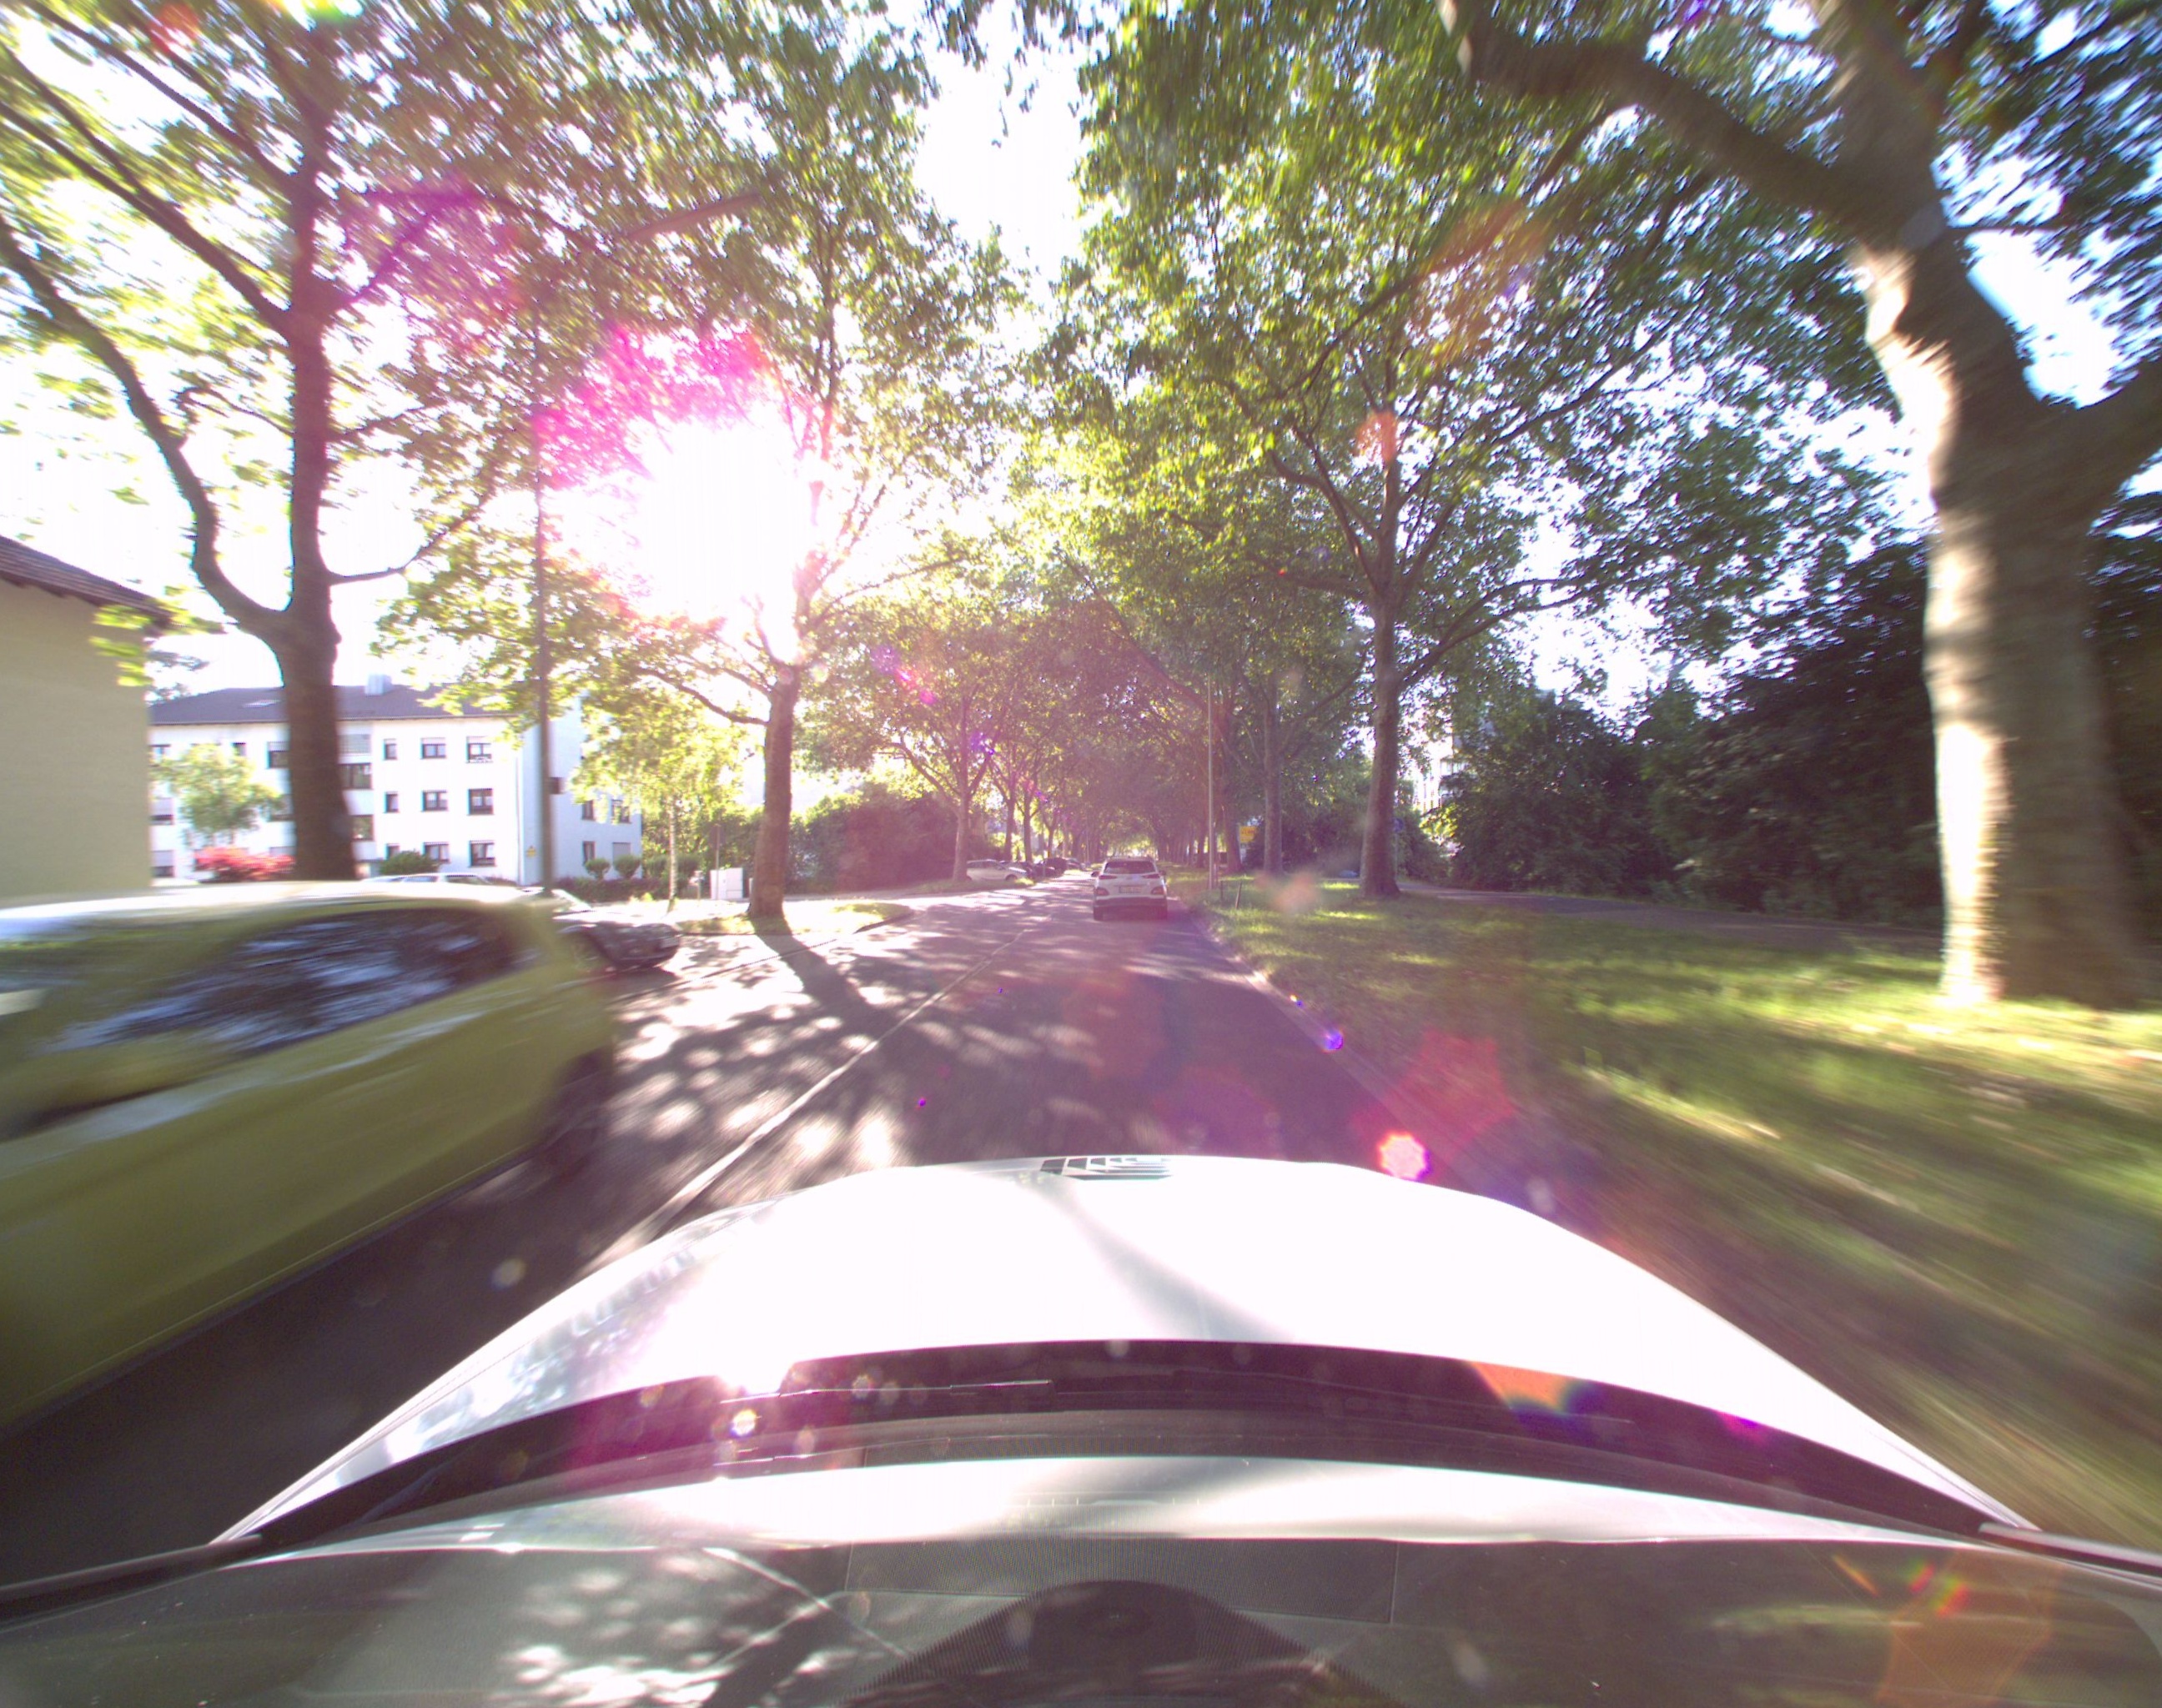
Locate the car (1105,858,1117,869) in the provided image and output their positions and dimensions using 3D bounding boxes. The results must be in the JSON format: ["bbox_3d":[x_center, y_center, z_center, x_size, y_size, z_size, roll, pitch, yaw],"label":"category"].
[{"bbox_3d":[3.935,1.220,105.779,1.529,1.459,3.186,-1,0,2],"label":"car"}]

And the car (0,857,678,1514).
[{"bbox_3d":[-3.368,0.787,2.922,1.777,1.512,3.841,0,0,3],"label":"car"}]

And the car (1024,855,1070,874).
[{"bbox_3d":[-3.228,1.014,77.800,4.225,1.680,1.672,-1,0,3],"label":"car"}]

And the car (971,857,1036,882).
[{"bbox_3d":[-5.111,1.023,54.107,4.146,1.506,1.802,-2,0,0],"label":"car"}]

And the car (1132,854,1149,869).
[{"bbox_3d":[6.805,0.823,93.228,1.671,1.696,3.744,-1,0,0],"label":"car"}]

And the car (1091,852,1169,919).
[{"bbox_3d":[1.216,0.754,21.301,1.829,1.555,4.001,-1,0,1],"label":"car"}]

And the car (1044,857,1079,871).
[{"bbox_3d":[-2.219,1.136,93.237,3.974,1.424,1.809,-1,0,0],"label":"car"}]

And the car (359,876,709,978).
[{"bbox_3d":[-7.721,0.998,11.767,3.812,1.316,1.790,0,-1,1],"label":"car"}]

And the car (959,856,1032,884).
[{"bbox_3d":[-5.112,0.976,48.993,4.170,1.584,1.999,-1,-1,-1],"label":"car"}]

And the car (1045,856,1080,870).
[{"bbox_3d":[-2.141,1.091,96.468,3.970,1.520,1.810,-1,0,3],"label":"car"}]

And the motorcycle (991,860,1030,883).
[{"bbox_3d":[-4.437,1.086,51.542,2.379,1.388,0.648,-1,0,-2],"label":"motorcycle"}]

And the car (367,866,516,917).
[{"bbox_3d":[-22.017,1.240,28.276,1.987,1.575,3.999,-1,-1,0],"label":"car"}]

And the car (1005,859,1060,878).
[{"bbox_3d":[-3.884,1.140,65.719,4.224,1.353,1.742,-2,-1,2],"label":"car"}]

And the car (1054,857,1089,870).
[{"bbox_3d":[-1.154,1.116,98.846,3.967,1.470,1.812,-1,0,5],"label":"car"}]
